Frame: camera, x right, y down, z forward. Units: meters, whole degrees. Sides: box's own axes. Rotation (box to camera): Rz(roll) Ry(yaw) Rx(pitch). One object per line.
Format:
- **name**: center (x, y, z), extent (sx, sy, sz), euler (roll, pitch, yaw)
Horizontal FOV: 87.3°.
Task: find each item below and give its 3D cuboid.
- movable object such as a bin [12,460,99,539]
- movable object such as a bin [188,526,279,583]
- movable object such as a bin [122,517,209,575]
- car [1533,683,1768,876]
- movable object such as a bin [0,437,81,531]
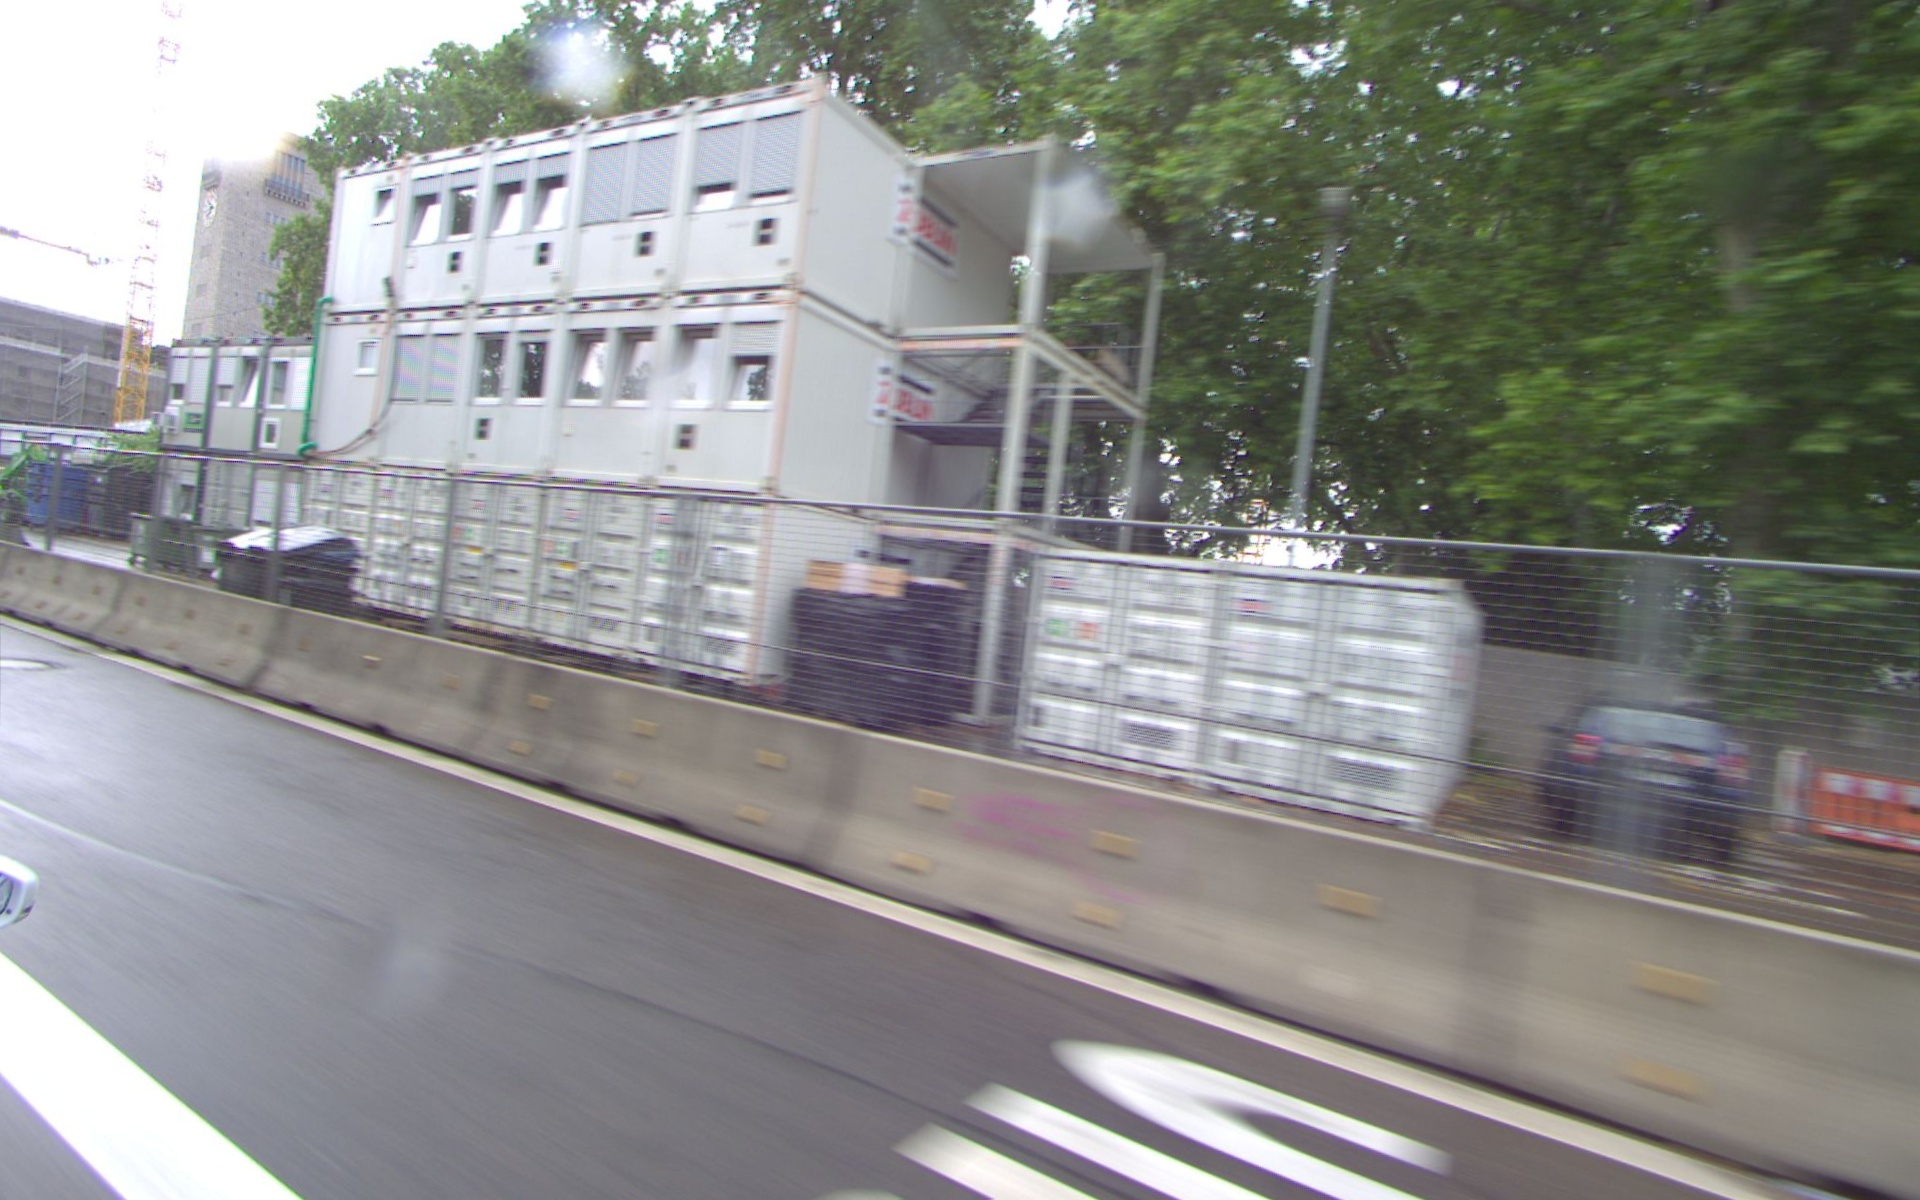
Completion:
- **movable object such as a bin**: center (-29.572, -3.268, 32.931), extent (1.241, 2.230, 1.461), euler (9, 1, 7)
- **movable object such as a bin**: center (-16.447, -1.021, 22.797), extent (1.218, 1.137, 1.247), euler (5, 1, 30)
- **movable object such as a bin**: center (-19.159, -1.290, 24.273), extent (1.218, 1.253, 1.247), euler (5, 1, 30)
- **car**: center (8.254, 1.991, 12.434), extent (1.757, 1.649, 4.551), euler (8, 0, 29)
- **movable object such as a bin**: center (-32.750, -4.127, 34.929), extent (3.797, 2.844, 1.811), euler (9, 1, 26)
